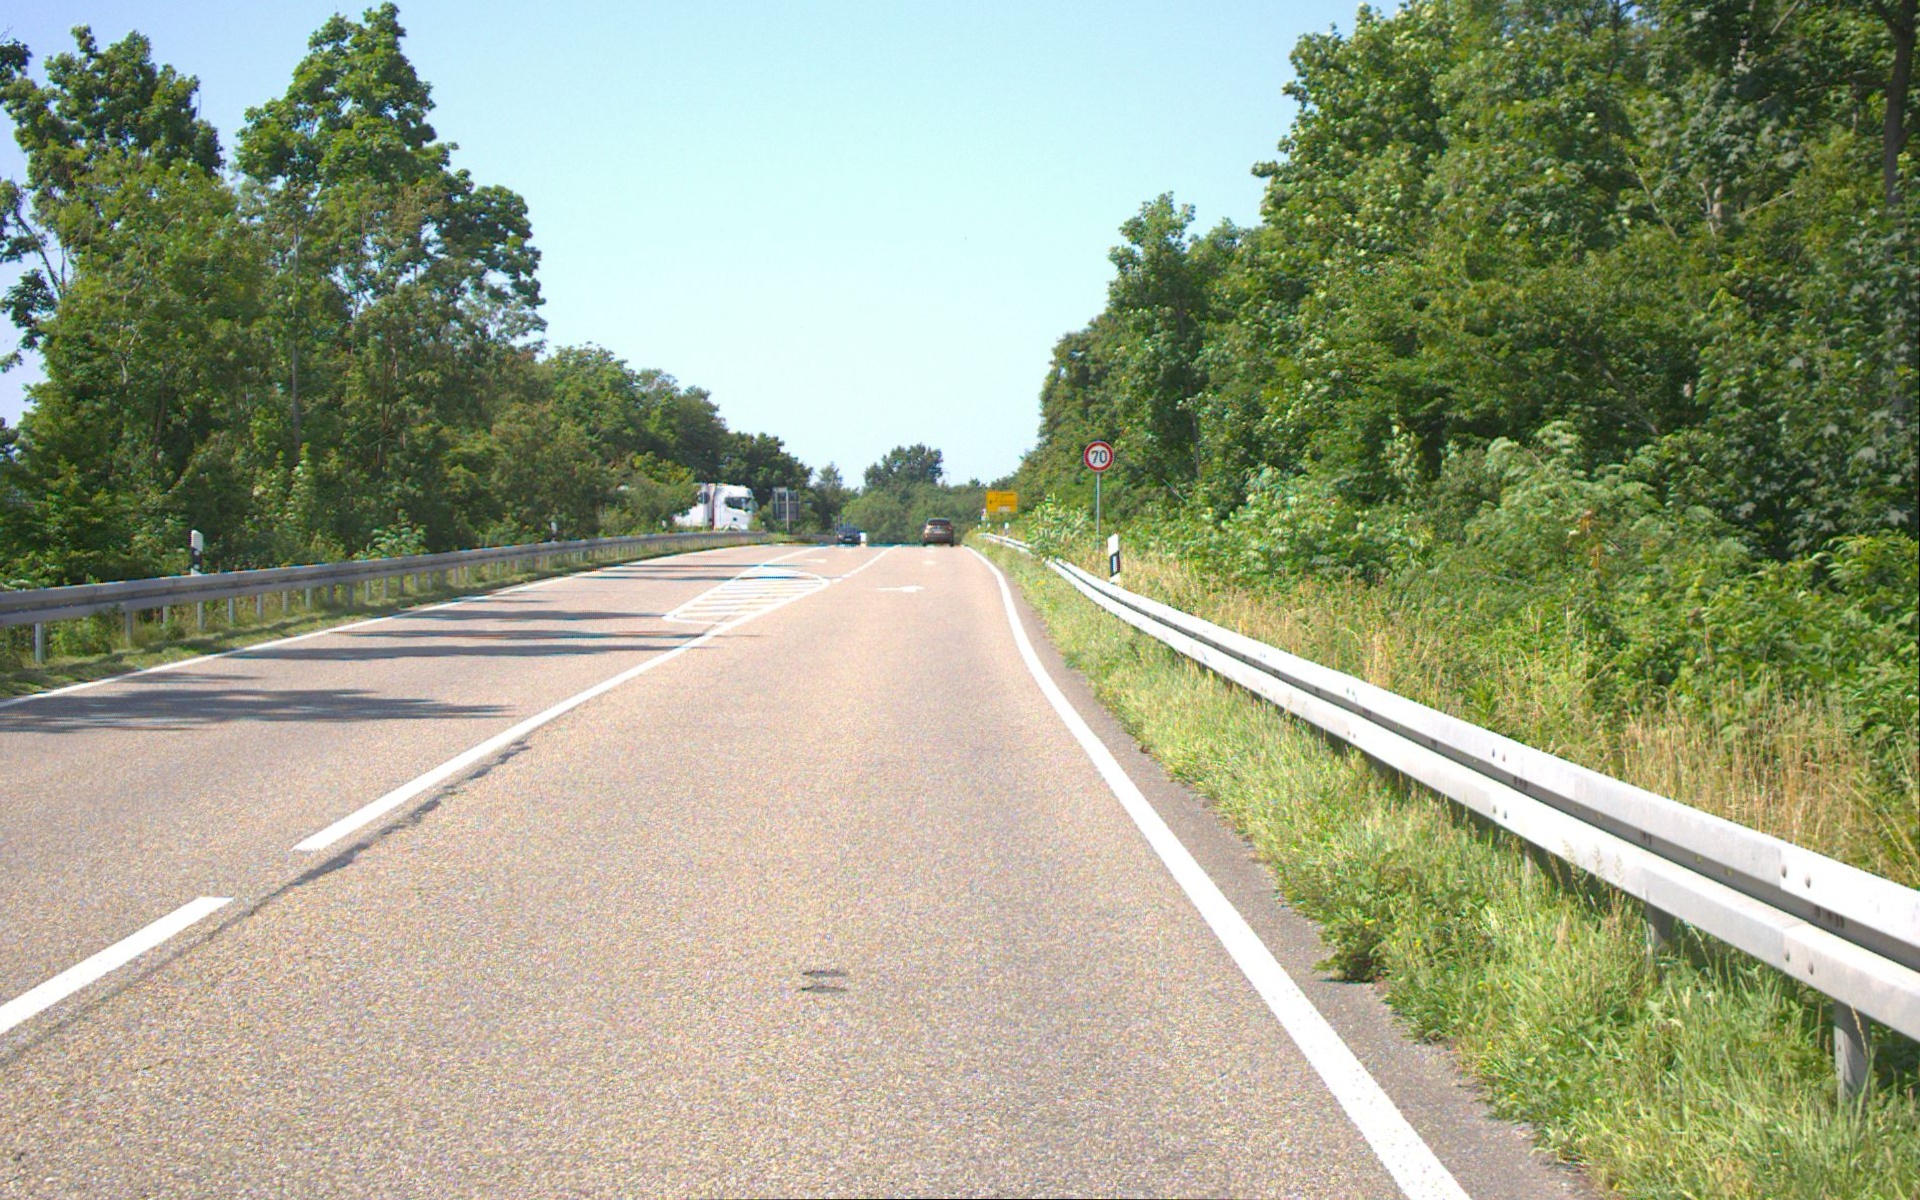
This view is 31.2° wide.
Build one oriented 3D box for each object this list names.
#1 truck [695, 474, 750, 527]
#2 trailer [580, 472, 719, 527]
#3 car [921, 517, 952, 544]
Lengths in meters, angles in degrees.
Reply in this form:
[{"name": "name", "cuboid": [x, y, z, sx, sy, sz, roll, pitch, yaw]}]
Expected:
[{"name": "truck", "cuboid": [-16.009, -6.693, 231.780, 3.465, 3.525, 2.000, 1, 1, 2]}, {"name": "trailer", "cuboid": [-20.933, -6.758, 231.941, 9.102, 3.566, 2.000, 1, 1, 2]}, {"name": "car", "cuboid": [-1.318, -3.908, 192.295, 1.741, 1.465, 3.693, 1, 2, 0]}]
